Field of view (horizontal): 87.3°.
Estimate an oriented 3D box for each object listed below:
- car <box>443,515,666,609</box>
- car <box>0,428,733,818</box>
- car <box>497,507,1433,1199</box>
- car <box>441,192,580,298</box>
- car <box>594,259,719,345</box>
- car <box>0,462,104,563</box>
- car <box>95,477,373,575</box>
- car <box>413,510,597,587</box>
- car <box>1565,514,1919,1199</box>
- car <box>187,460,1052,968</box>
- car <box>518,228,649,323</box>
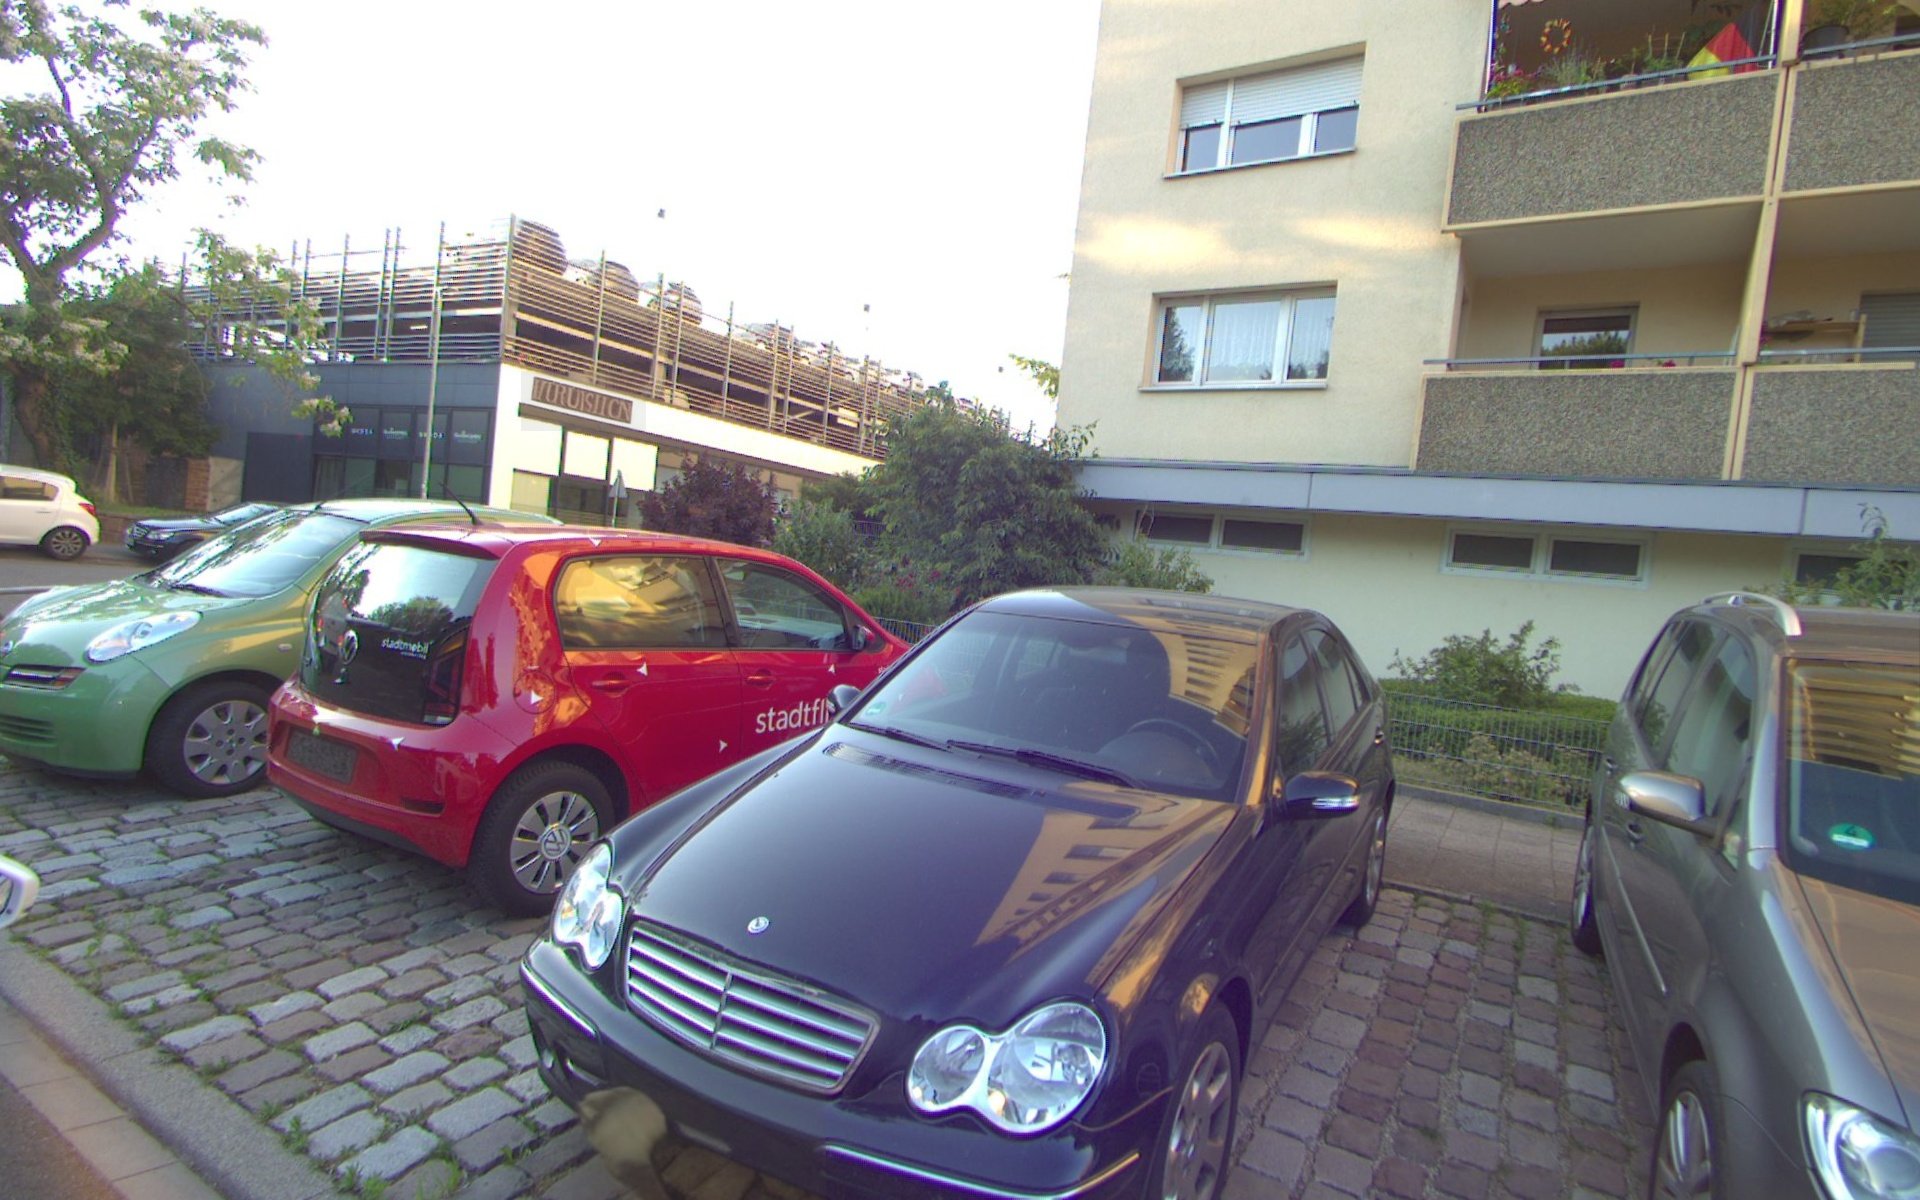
[{"bbox_3d":[-8.225,-0.729,20.679,1.794,1.544,3.835,7,2,35],"label":"car"},{"bbox_3d":[-3.713,0.085,6.624,1.814,1.653,4.407,5,1,28],"label":"car"},{"bbox_3d":[0.707,0.652,4.024,1.814,1.551,4.407,5,1,28],"label":"car"},{"bbox_3d":[-13.600,-10.609,30.378,3.938,2.039,1.993,7,1,36],"label":"car"},{"bbox_3d":[-10.492,-10.190,34.697,3.938,2.039,1.993,7,1,36],"label":"car"},{"bbox_3d":[-17.500,-1.692,17.199,1.924,1.594,3.861,8,1,29],"label":"car"},{"bbox_3d":[-14.902,-1.474,20.881,1.794,1.523,4.290,7,2,35],"label":"car"},{"bbox_3d":[-11.474,-1.268,25.568,1.794,1.523,3.835,7,2,35],"label":"car"},{"bbox_3d":[2.993,0.785,2.877,1.814,1.684,4.405,5,3,28],"label":"car"},{"bbox_3d":[-1.368,0.285,5.664,1.815,1.655,4.398,7,5,32],"label":"car"},{"bbox_3d":[-12.201,-10.406,32.527,3.938,2.039,1.993,7,1,36],"label":"car"}]
